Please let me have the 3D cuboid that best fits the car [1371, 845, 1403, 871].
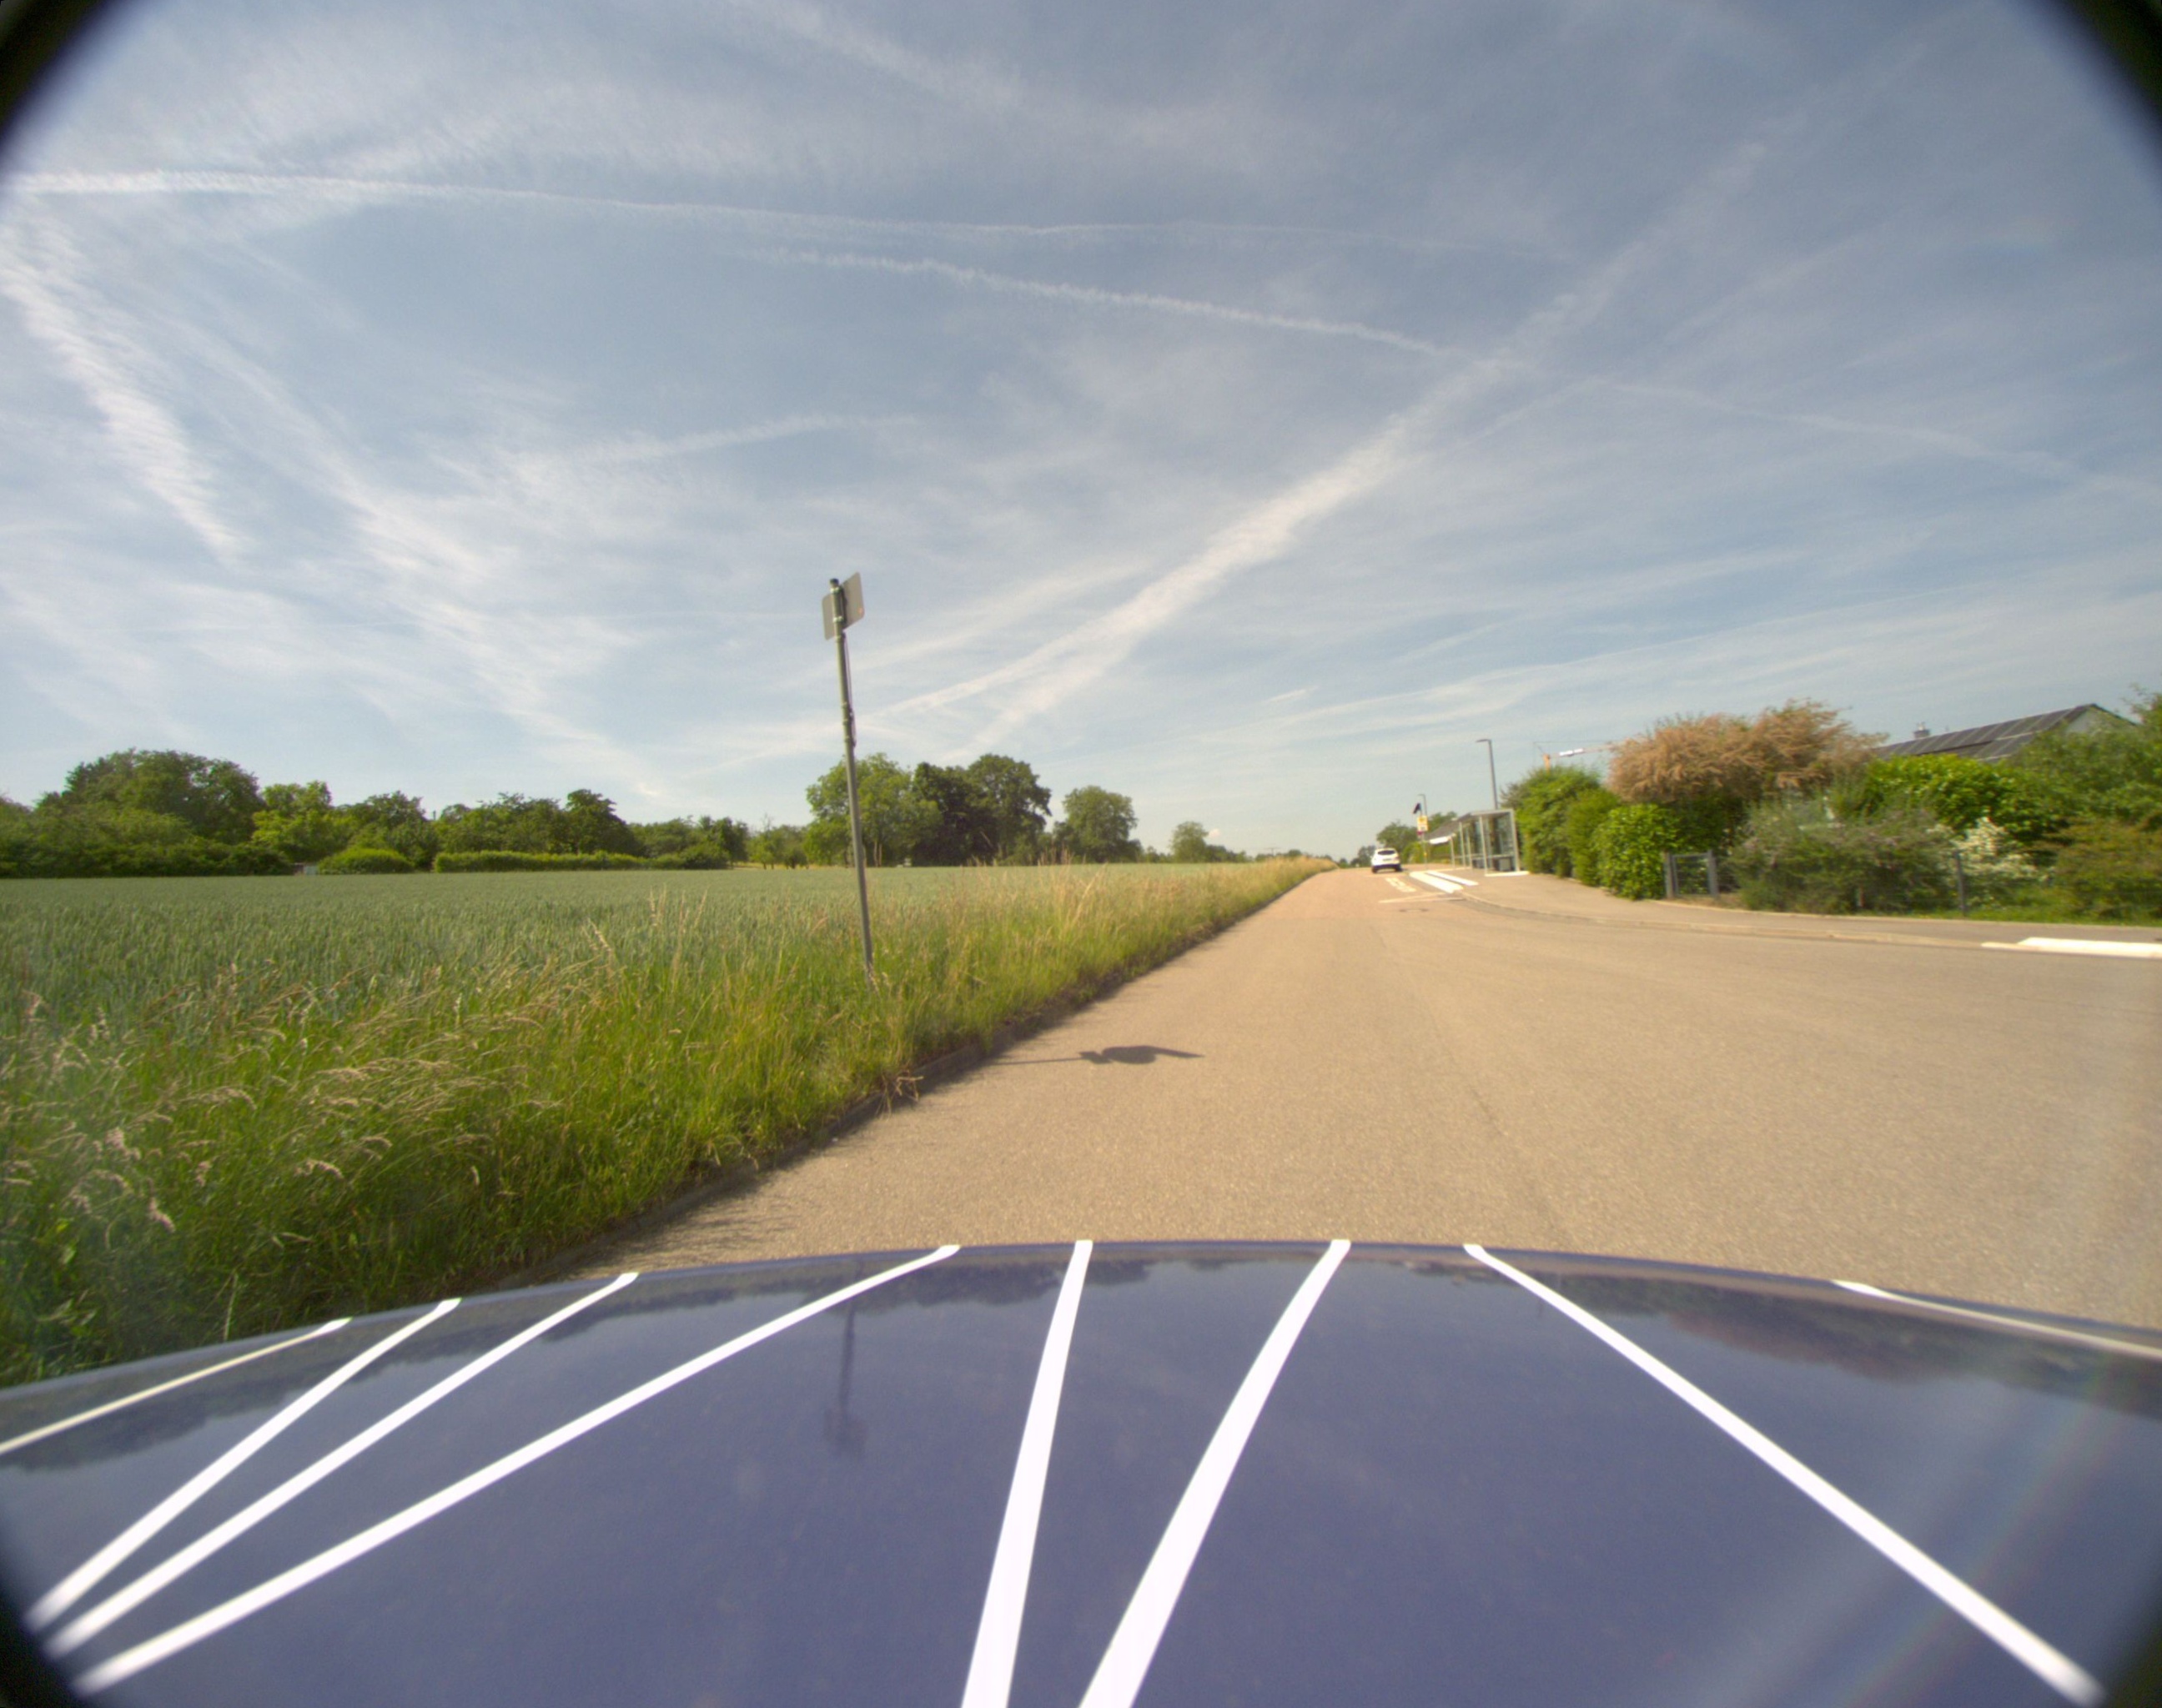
[{"bbox_3d":[21.292,0.249,53.059,1.736,1.623,4.358,-4,-1,19],"label":"car"}]
